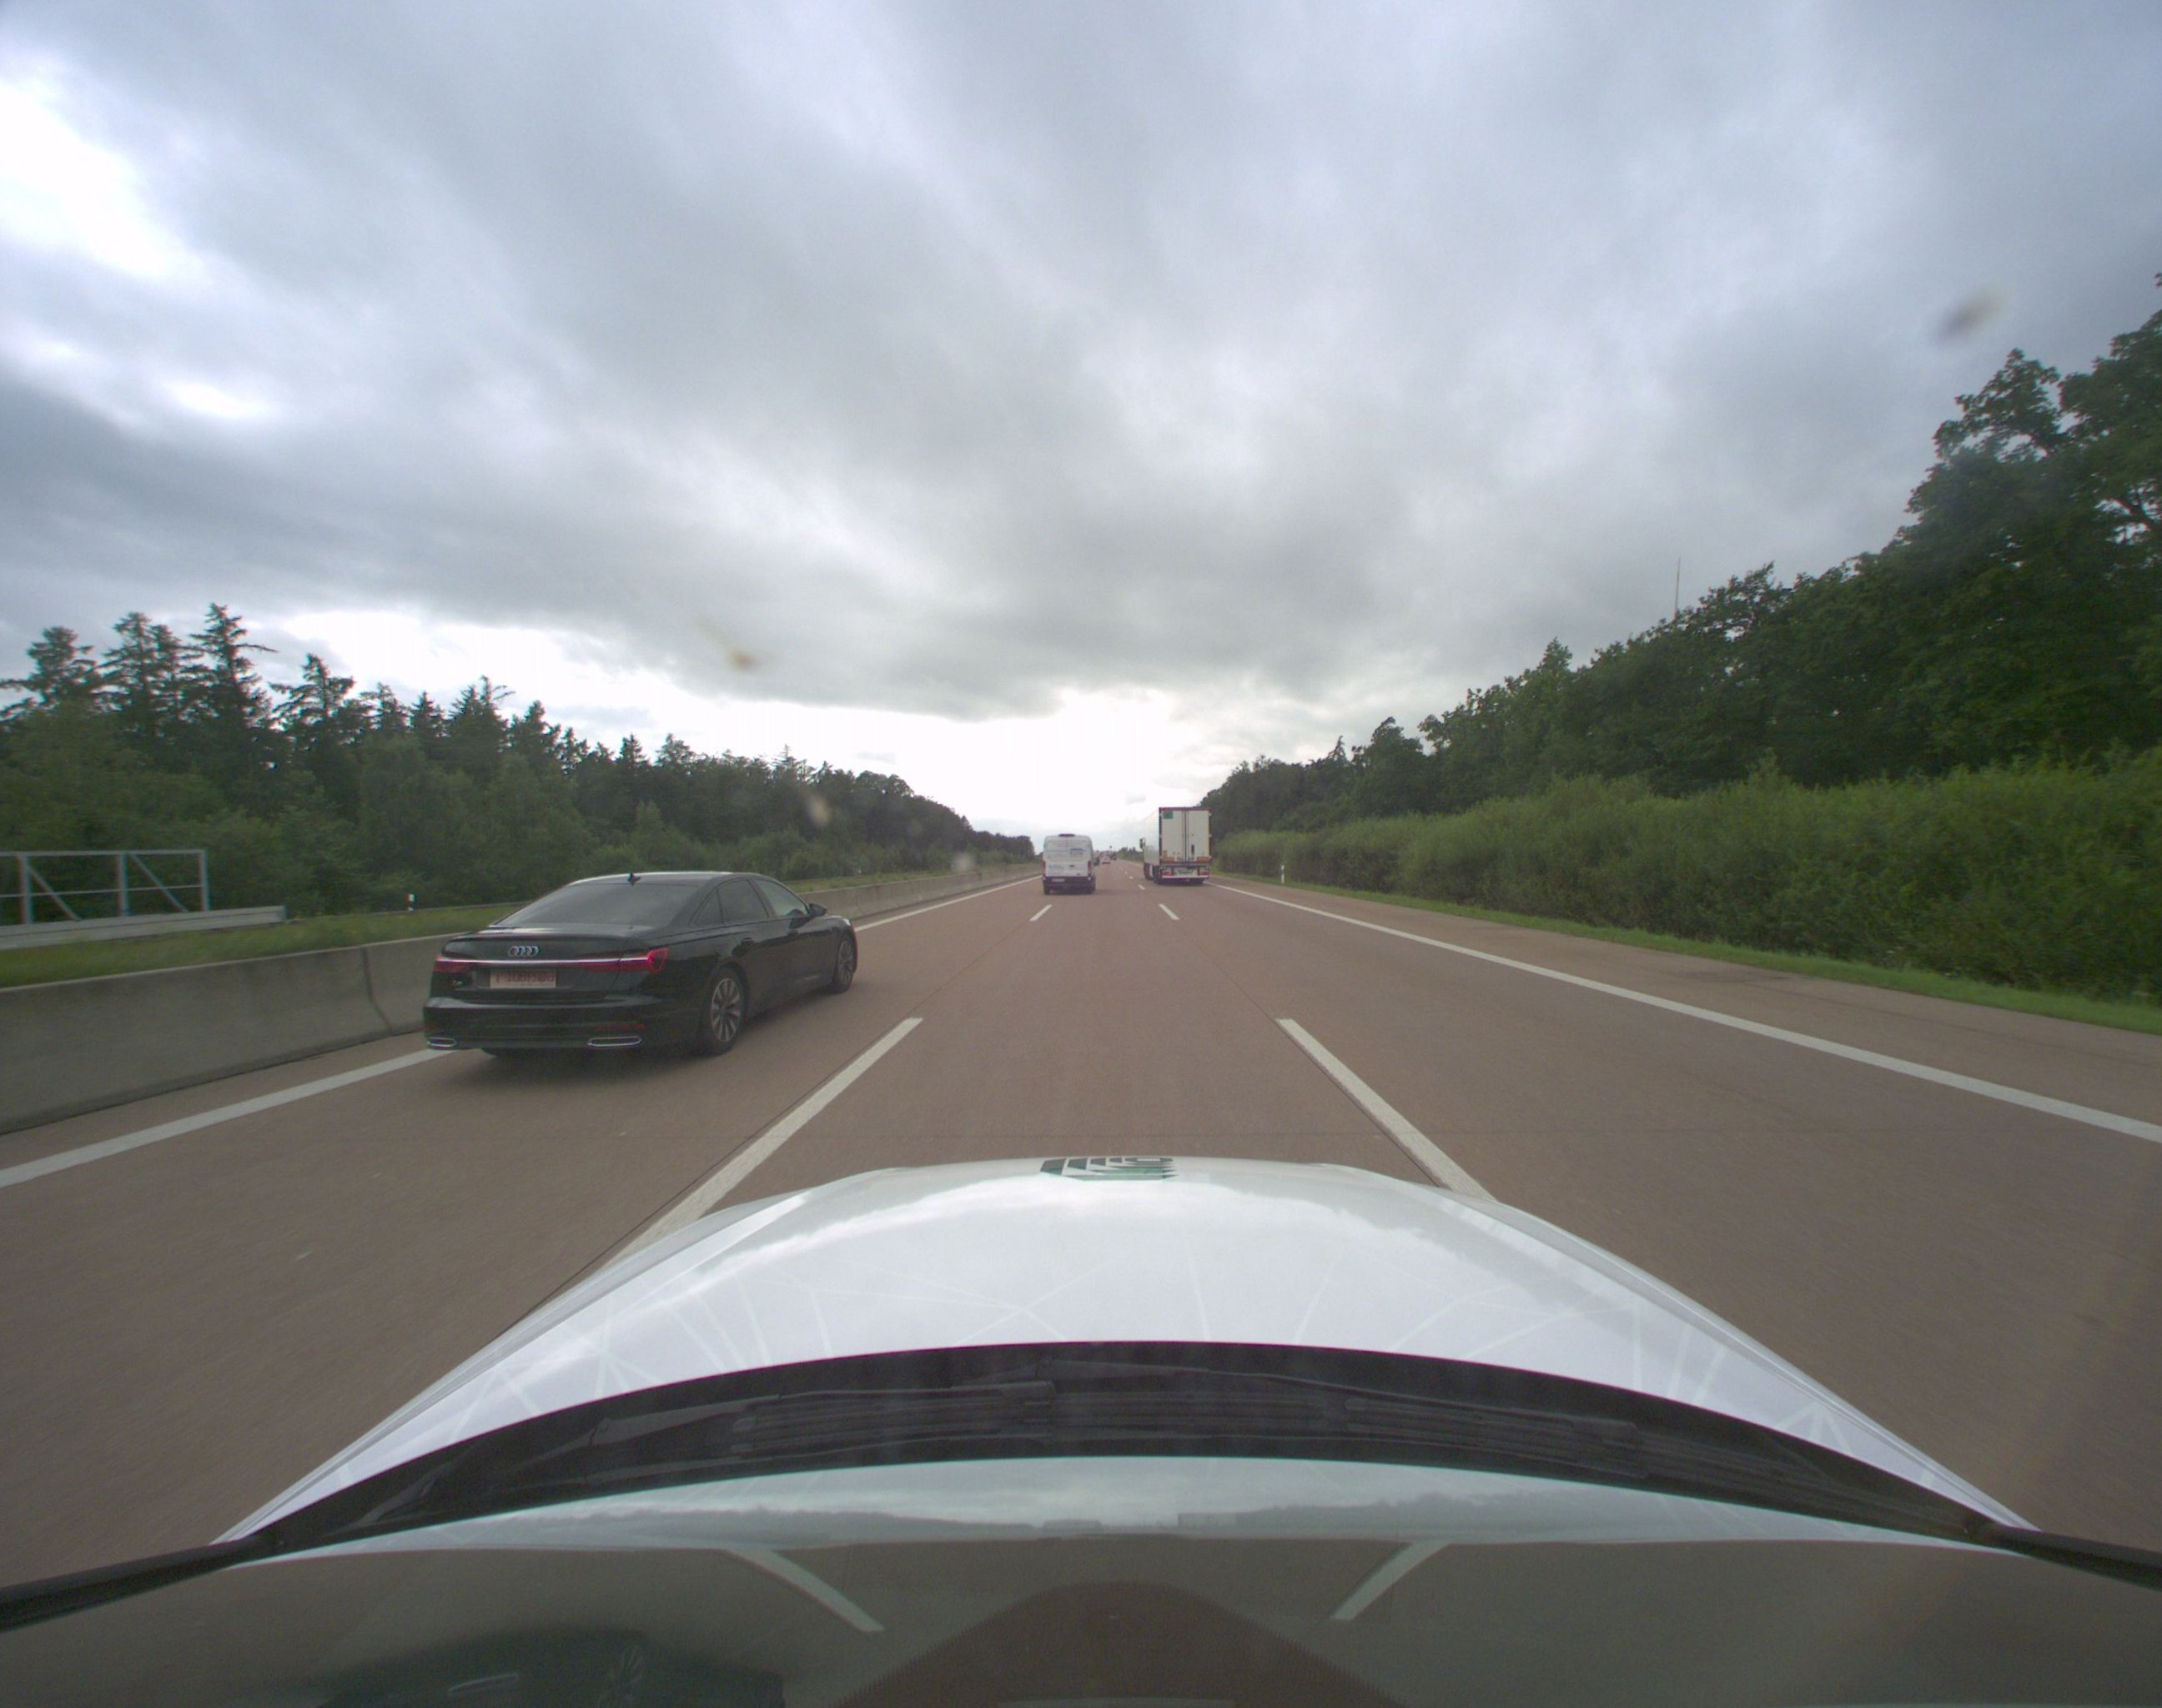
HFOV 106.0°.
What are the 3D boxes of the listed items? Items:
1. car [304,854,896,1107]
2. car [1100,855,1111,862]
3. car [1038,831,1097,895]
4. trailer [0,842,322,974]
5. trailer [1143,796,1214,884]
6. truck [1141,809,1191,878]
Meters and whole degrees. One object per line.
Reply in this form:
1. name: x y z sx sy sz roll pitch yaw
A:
1. car: -3.677 0.783 7.933 2.076 1.550 5.680 0 0 4
2. car: 5.284 0.922 173.805 2.154 1.451 4.723 0 0 4
3. car: -0.452 0.333 35.593 2.129 2.507 7.135 -1 0 2
4. trailer: -18.859 0.899 15.801 2.323 2.161 6.192 -1 0 2
5. trailer: 5.282 -0.664 46.729 2.910 4.294 13.620 -1 0 2
6. truck: 5.555 -0.662 54.222 2.910 4.294 5.337 -1 0 2
